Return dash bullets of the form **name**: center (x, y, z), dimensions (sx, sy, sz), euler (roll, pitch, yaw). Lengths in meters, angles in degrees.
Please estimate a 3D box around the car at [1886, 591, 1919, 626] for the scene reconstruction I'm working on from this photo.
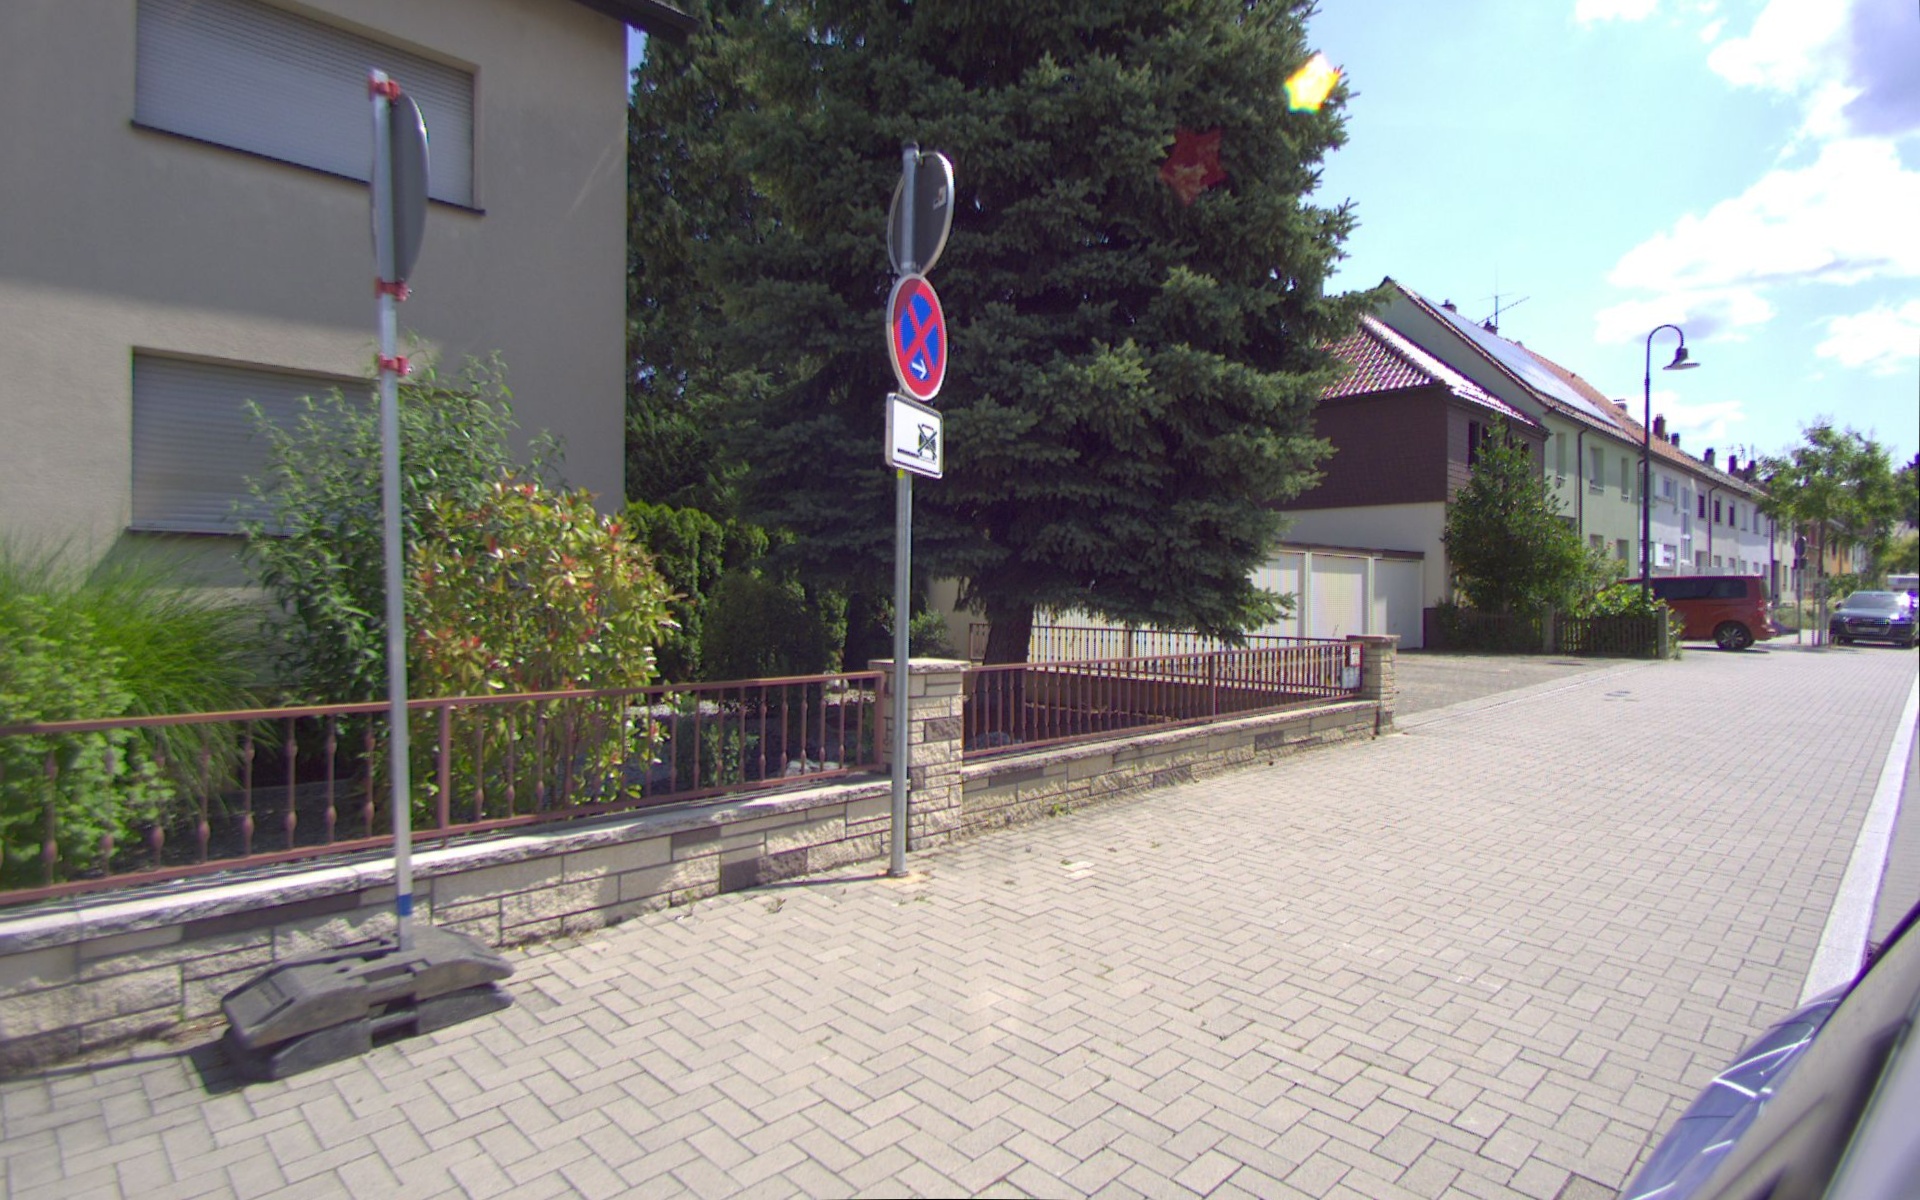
- **car**: center (42.100, 0.343, 44.602), dimensions (1.832, 1.484, 4.449), euler (1, 1, 43)

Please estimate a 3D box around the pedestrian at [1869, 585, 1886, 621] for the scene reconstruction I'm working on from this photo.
- **pedestrian**: center (46.375, 0.153, 51.147), dimensions (0.662, 1.770, 0.558), euler (-1, 1, -44)

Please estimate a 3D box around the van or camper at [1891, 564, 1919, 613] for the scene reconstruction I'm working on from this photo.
- **van or camper**: center (57.765, -0.645, 60.765), dimensions (2.475, 2.845, 5.696), euler (3, 2, 45)

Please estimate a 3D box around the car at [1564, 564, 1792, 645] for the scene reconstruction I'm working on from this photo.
- **car**: center (18.750, 0.101, 26.585), dimensions (4.620, 1.917, 1.988), euler (-1, 0, 45)

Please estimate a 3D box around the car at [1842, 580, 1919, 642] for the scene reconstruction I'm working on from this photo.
- **car**: center (27.903, 0.328, 30.191), dimensions (4.370, 1.655, 1.867), euler (1, 3, -42)
